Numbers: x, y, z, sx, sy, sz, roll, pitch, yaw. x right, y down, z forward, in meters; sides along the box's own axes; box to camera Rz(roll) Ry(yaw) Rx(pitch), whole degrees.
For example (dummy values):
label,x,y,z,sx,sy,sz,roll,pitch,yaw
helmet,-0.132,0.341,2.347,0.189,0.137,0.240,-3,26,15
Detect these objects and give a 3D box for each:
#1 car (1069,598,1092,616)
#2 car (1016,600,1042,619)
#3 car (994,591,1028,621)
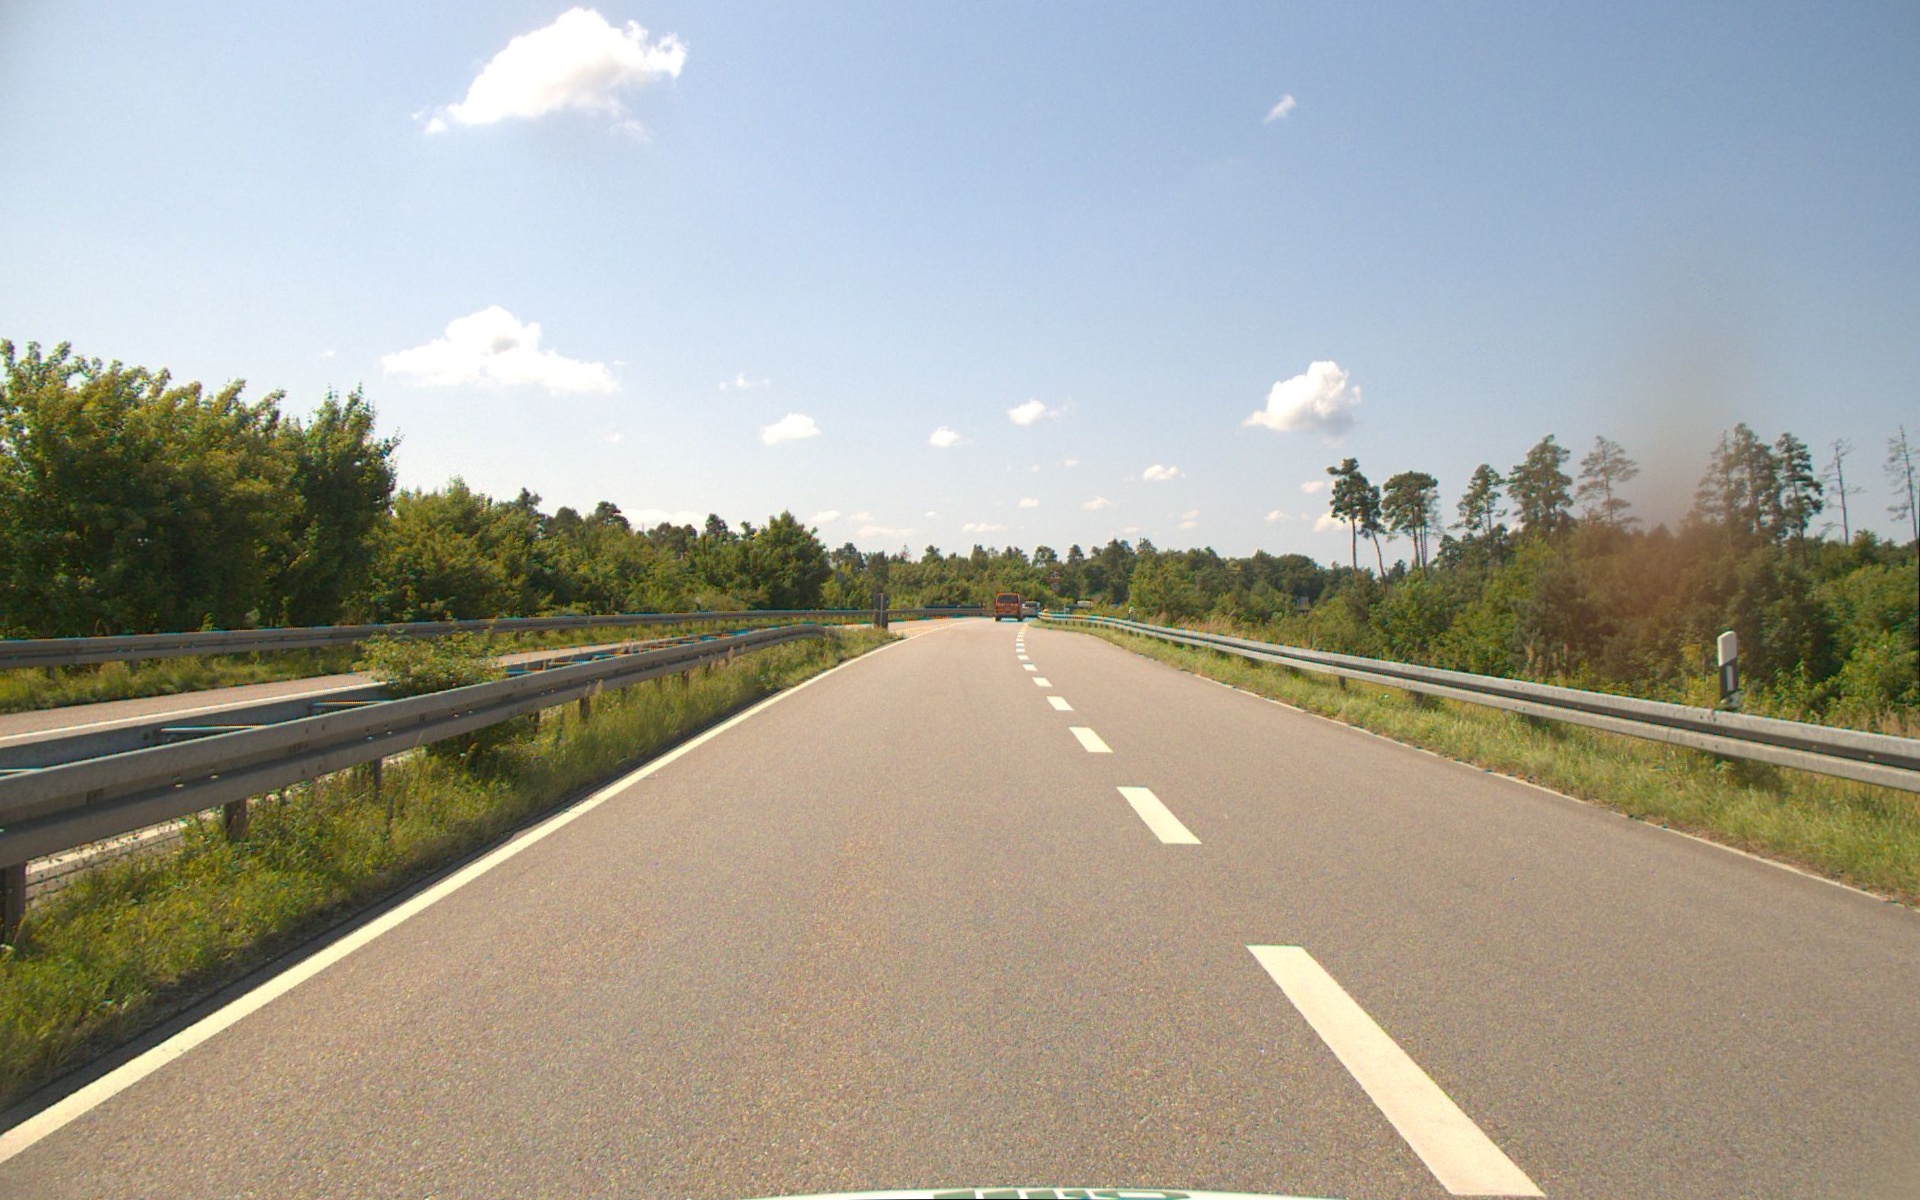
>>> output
label,x,y,z,sx,sy,sz,roll,pitch,yaw
car,14.235,0.825,195.522,2.138,1.989,5.808,1,-1,9
car,5.908,0.788,140.789,1.965,1.520,4.241,1,-1,6
car,3.704,0.443,119.075,2.033,2.028,5.115,1,-1,6
